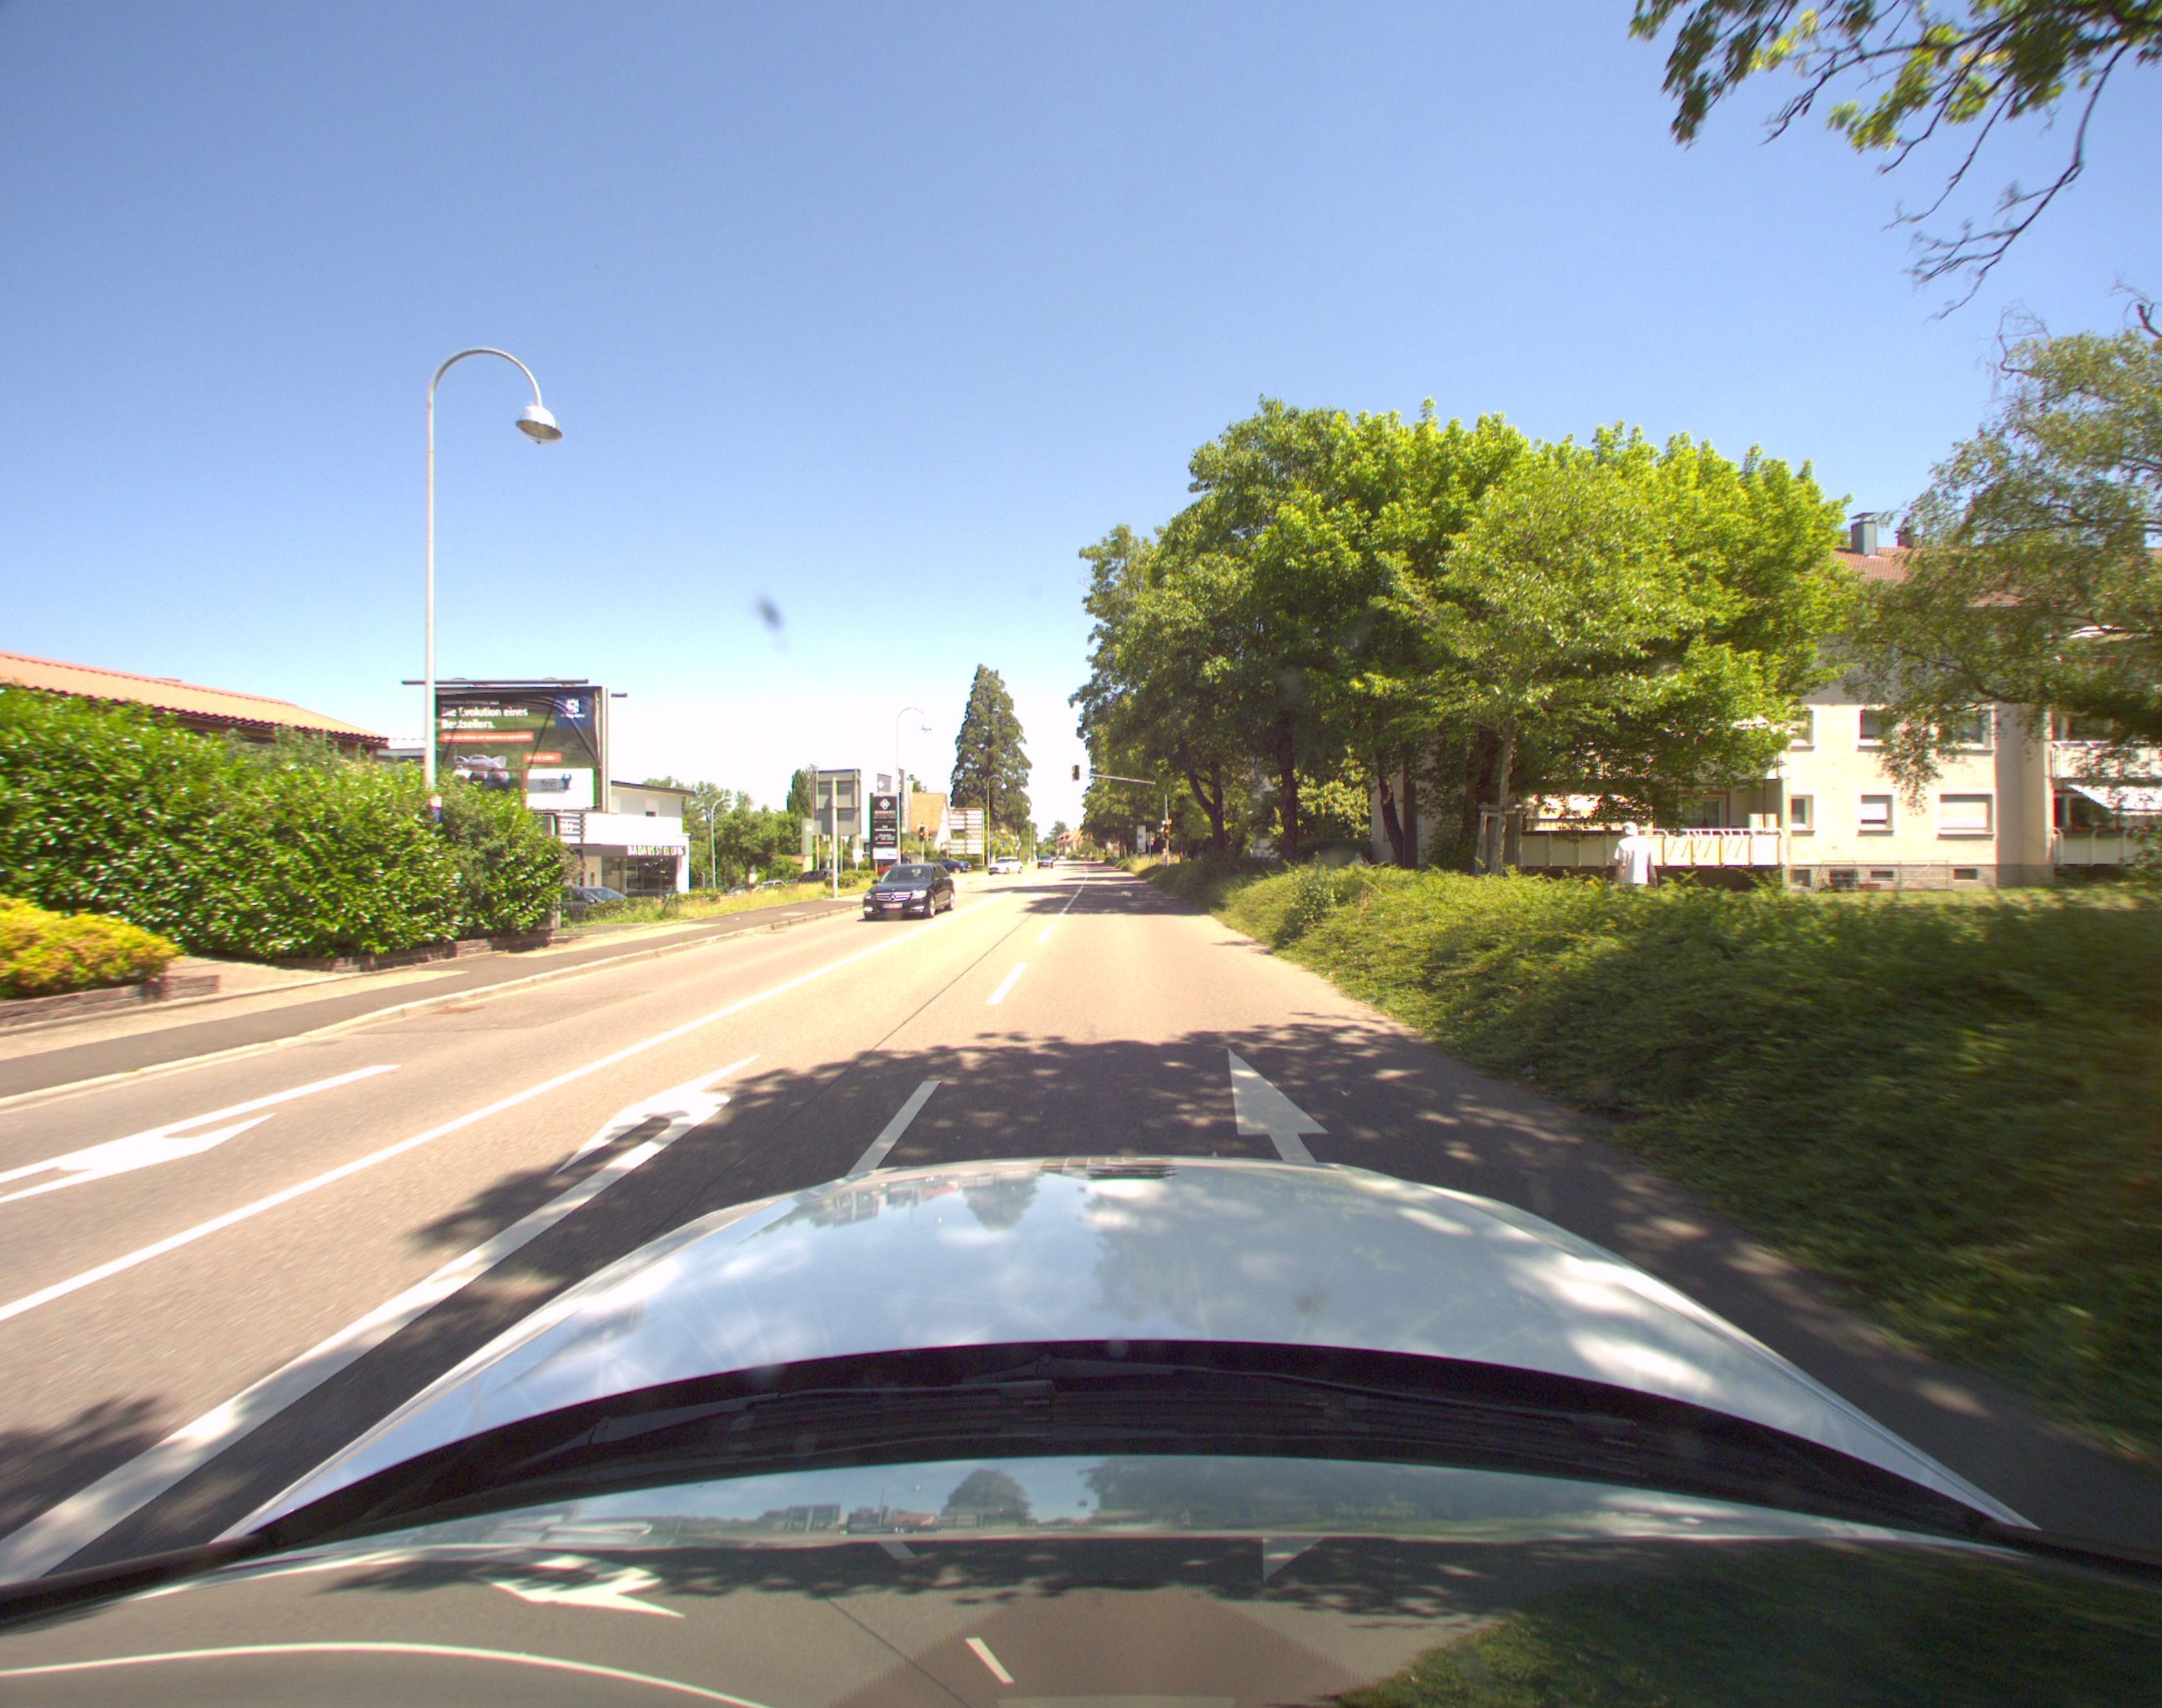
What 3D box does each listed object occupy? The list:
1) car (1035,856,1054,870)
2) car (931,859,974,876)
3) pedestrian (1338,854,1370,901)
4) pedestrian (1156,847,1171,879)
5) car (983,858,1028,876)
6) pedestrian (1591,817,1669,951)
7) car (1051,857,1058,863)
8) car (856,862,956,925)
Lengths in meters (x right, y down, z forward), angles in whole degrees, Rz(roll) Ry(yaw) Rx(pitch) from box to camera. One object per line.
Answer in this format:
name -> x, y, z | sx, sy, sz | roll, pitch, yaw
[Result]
car -> -4.381, 1.065, 98.256 | 1.872, 1.717, 4.312 | -1, 0, 2
car -> -11.507, 1.227, 72.947 | 3.471, 1.427, 1.604 | -1, 0, 8
pedestrian -> 8.059, 0.685, 24.063 | 0.659, 1.335, 0.889 | -1, -1, 2
pedestrian -> 4.546, 0.505, 44.846 | 0.555, 1.751, 0.619 | -1, -1, 35
car -> -6.543, 1.113, 71.327 | 1.975, 1.487, 4.334 | -1, 0, 25
pedestrian -> 8.121, 0.436, 12.073 | 0.700, 1.914, 0.661 | -1, -1, 5
car -> -6.720, 1.509, 204.490 | 1.425, 1.322, 3.357 | -1, -1, 3
car -> -4.674, 1.000, 22.371 | 1.703, 1.495, 4.279 | -1, 0, 2
